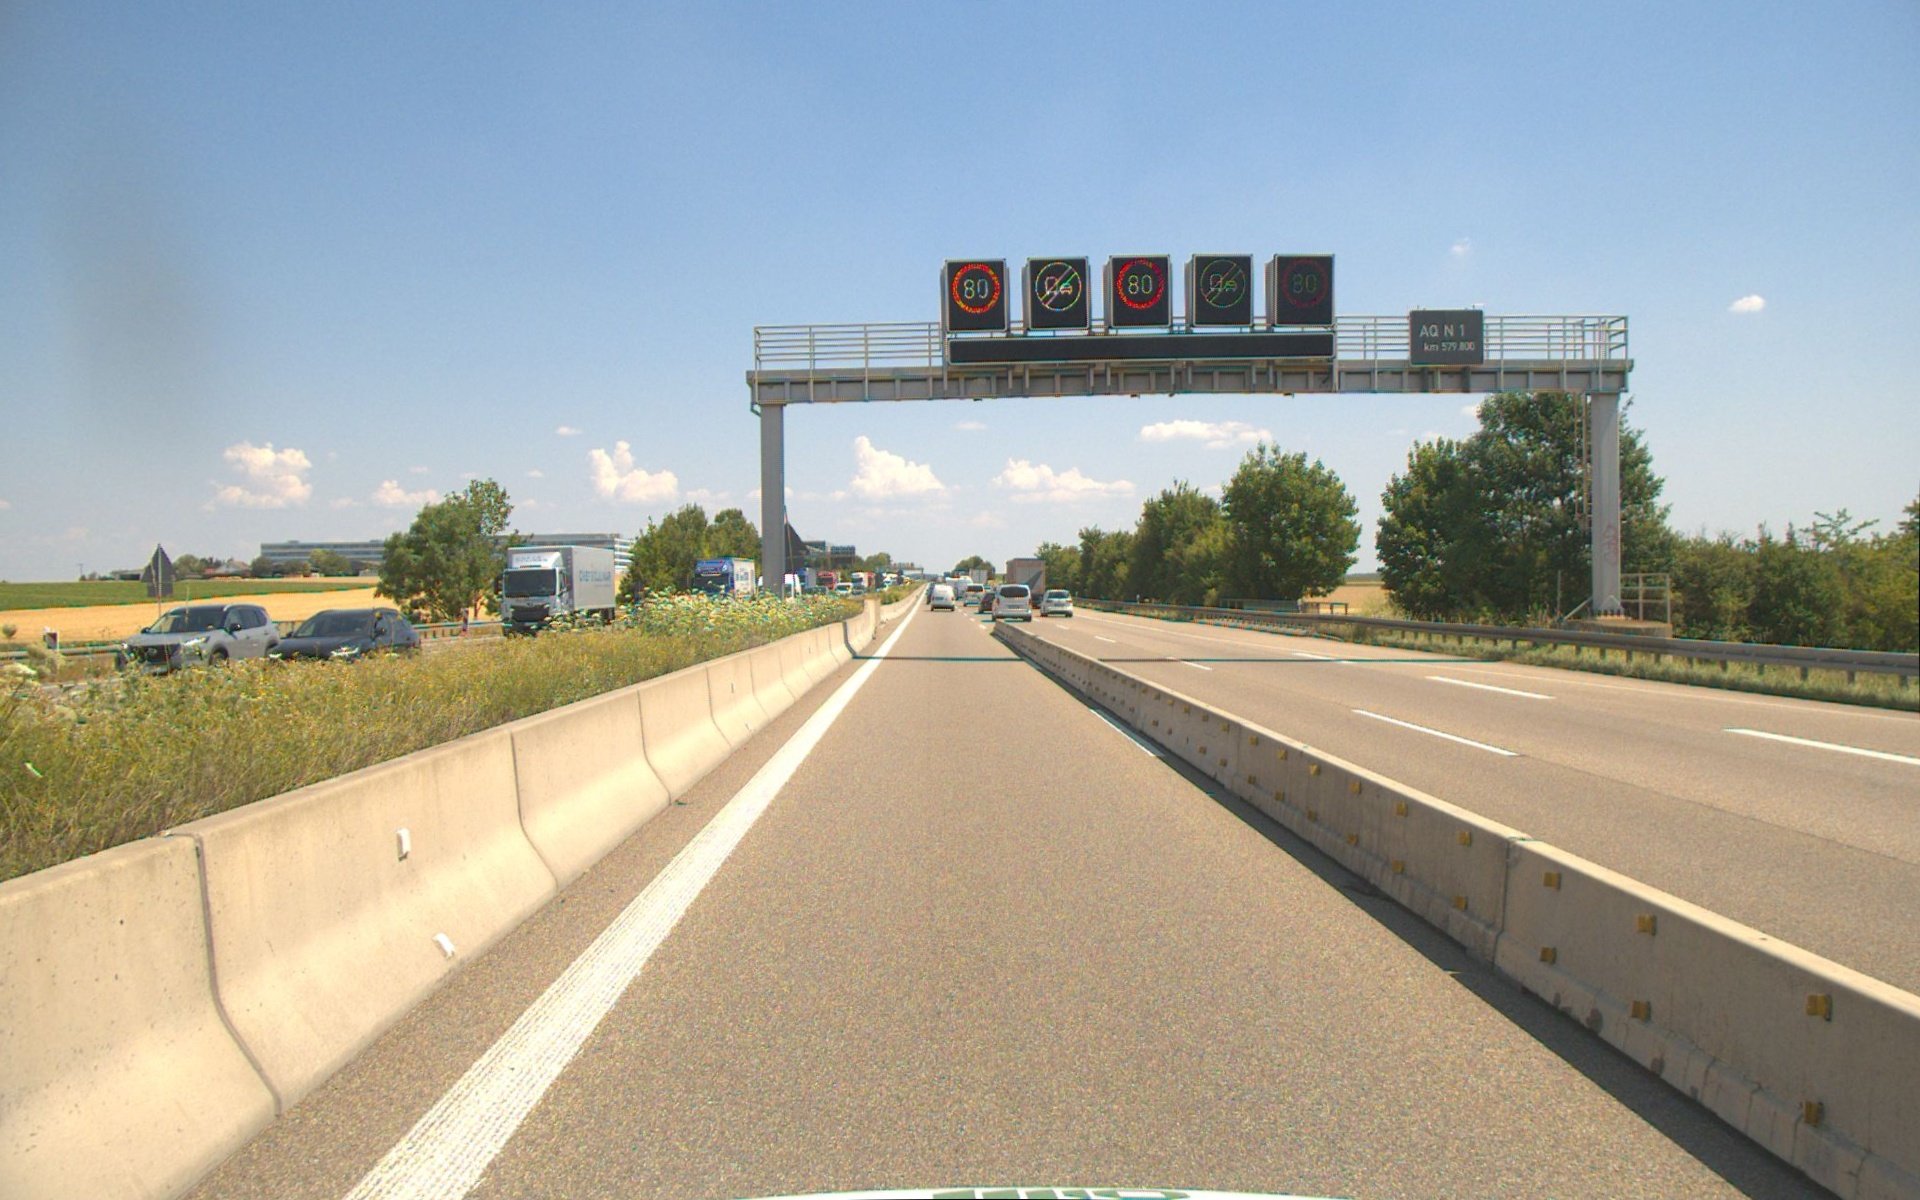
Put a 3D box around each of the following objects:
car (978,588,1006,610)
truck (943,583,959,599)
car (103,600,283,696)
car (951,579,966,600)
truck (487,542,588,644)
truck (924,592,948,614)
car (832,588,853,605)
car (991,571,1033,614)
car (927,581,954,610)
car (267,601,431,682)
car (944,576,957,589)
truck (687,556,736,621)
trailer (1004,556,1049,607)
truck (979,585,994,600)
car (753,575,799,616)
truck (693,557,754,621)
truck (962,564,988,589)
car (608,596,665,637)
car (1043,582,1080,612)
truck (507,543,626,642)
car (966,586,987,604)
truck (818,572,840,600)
[{"bbox_3d":[2.143,-0.067,111.794,1.737,1.472,3.999,0,0,-1],"label":"car"},{"bbox_3d":[-1.237,-1.228,225.399,1.953,2.049,3.999,-1,0,-1],"label":"truck"},{"bbox_3d":[-15.573,0.921,33.834,1.795,1.749,4.079,-2,0,-1],"label":"car"},{"bbox_3d":[-0.164,-1.236,194.460,1.737,2.434,3.999,0,-1,-1],"label":"car"},{"bbox_3d":[-16.010,-0.272,62.897,2.643,3.650,4.000,-2,0,0],"label":"truck"},{"bbox_3d":[-2.376,0.236,160.886,2.167,2.049,4.970,-1,1,-2],"label":"truck"},{"bbox_3d":[-14.820,-0.442,208.929,2.139,2.049,5.763,-1,0,1],"label":"car"},{"bbox_3d":[2.658,-0.348,85.211,1.953,2.157,3.999,0,0,-1],"label":"car"},{"bbox_3d":[-1.425,-0.294,121.215,1.953,2.049,3.999,0,0,-1],"label":"car"},{"bbox_3d":[-11.852,0.755,32.390,1.796,1.347,4.278,-2,1,-3],"label":"car"},{"bbox_3d":[-1.469,-2.764,261.669,1.953,1.868,3.999,0,0,-1],"label":"car"},{"bbox_3d":[-17.276,-0.789,115.220,2.540,4.312,4.853,-3,0,-1],"label":"truck"},{"bbox_3d":[5.528,-1.481,139.015,3.211,4.036,9.110,0,0,-1],"label":"trailer"},{"bbox_3d":[3.650,-1.106,230.277,1.953,2.049,3.999,-1,0,-1],"label":"truck"},{"bbox_3d":[-9.378,-0.230,84.605,1.953,1.980,4.793,-1,0,-2],"label":"car"},{"bbox_3d":[-17.410,-0.810,122.588,2.540,4.312,14.119,-3,0,-1],"label":"truck"},{"bbox_3d":[2.376,-3.695,263.220,3.738,3.973,9.578,-1,0,-1],"label":"truck"},{"bbox_3d":[-12.278,0.599,62.988,1.527,1.467,3.836,-1,0,-2],"label":"car"},{"bbox_3d":[6.233,-0.161,101.764,1.953,1.825,3.999,0,0,-1],"label":"car"},{"bbox_3d":[-16.024,-0.325,68.035,2.644,3.683,8.786,-2,0,0],"label":"truck"},{"bbox_3d":[1.434,-0.438,147.303,1.737,1.472,3.999,0,0,-1],"label":"car"},{"bbox_3d":[-19.510,-2.100,246.298,2.798,3.922,3.999,-2,0,-1],"label":"truck"}]
